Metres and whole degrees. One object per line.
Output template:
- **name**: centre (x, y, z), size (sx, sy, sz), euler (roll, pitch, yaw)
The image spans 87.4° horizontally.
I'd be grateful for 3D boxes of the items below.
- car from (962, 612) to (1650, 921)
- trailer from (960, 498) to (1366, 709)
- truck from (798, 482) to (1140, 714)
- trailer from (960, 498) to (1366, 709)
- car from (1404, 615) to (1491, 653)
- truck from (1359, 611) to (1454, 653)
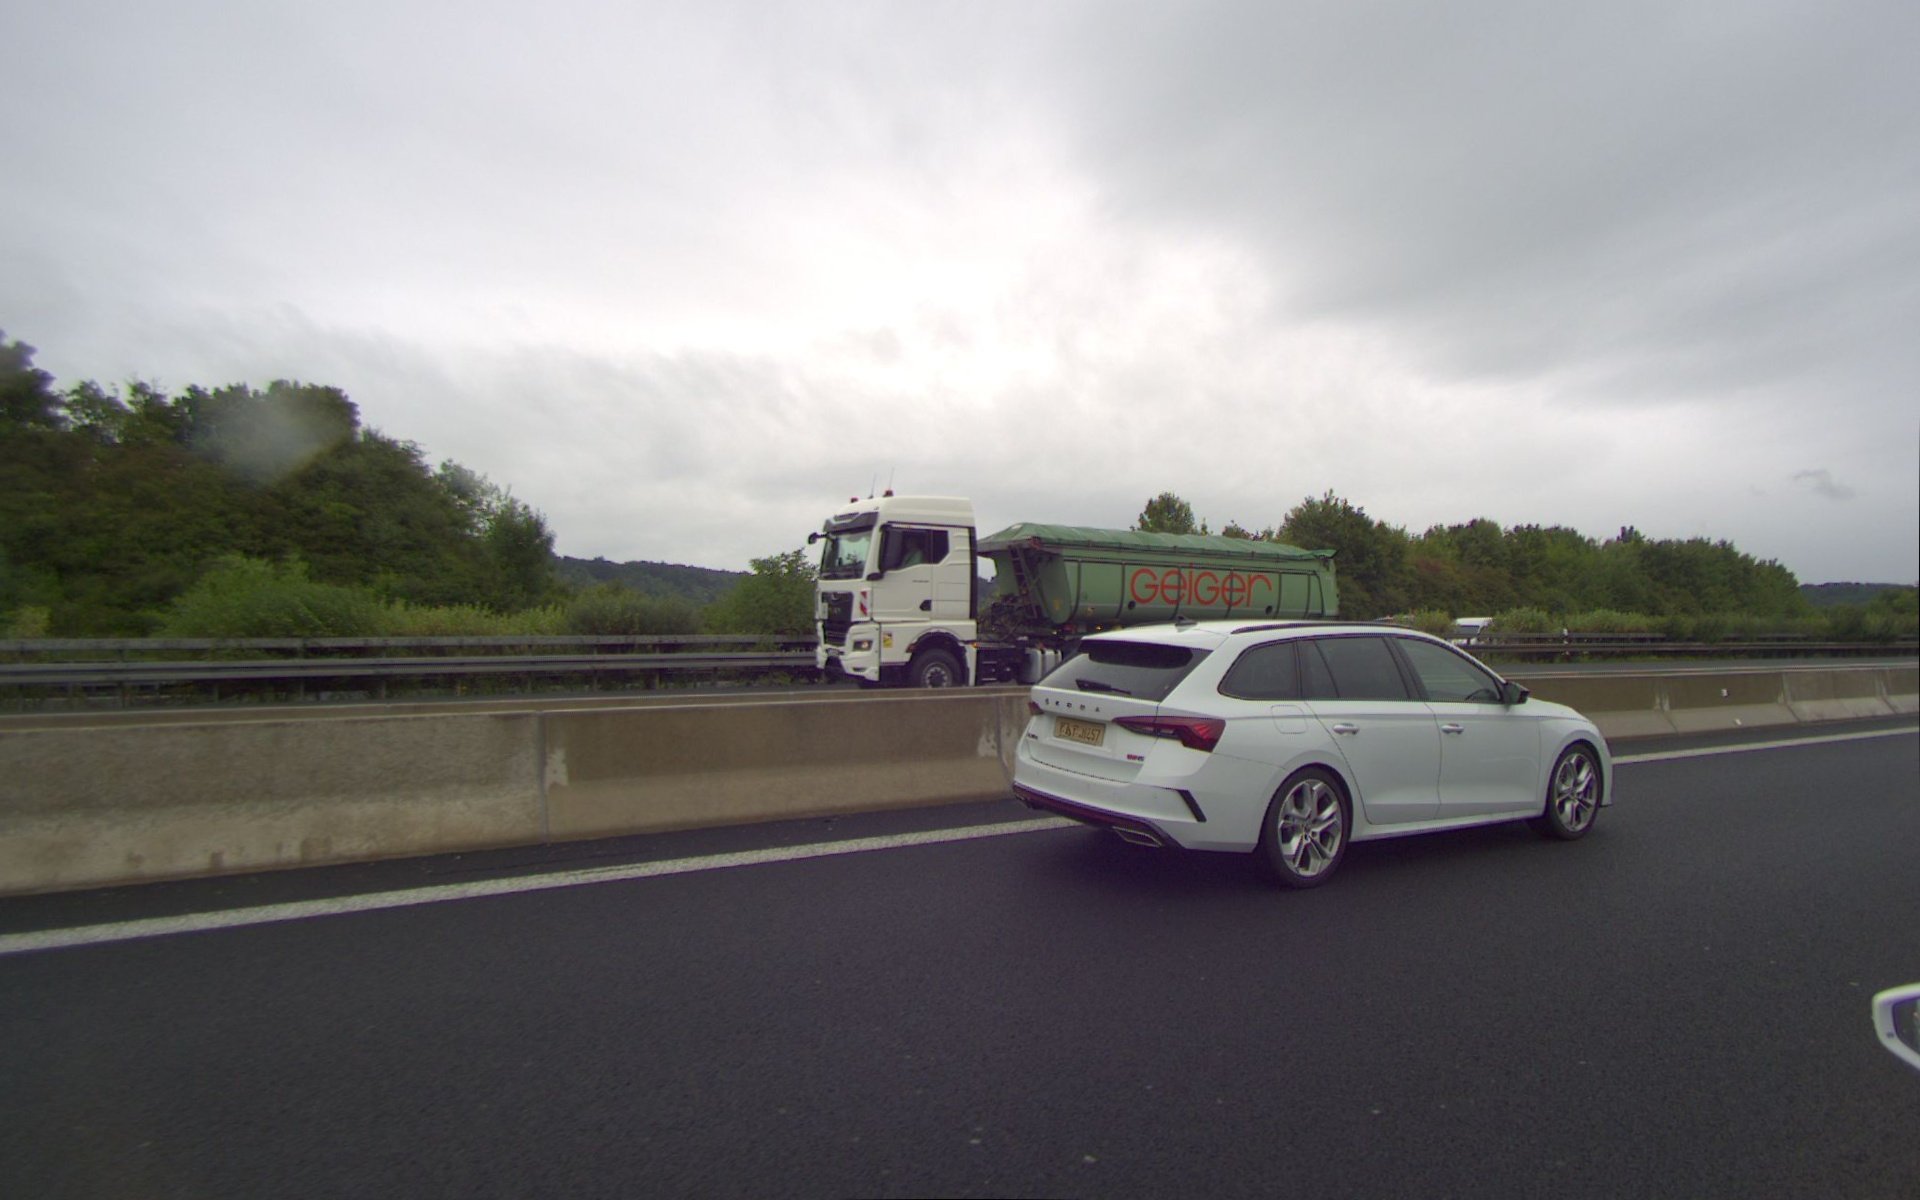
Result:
- **car**: centre (2.499, 0.870, 6.807), size (4.723, 1.475, 1.809), euler (2, -1, -31)
- **trailer**: centre (4.545, 0.196, 21.578), size (8.819, 3.798, 2.890), euler (2, -1, -29)
- **truck**: centre (0.205, 0.063, 19.132), size (5.872, 3.798, 2.874), euler (2, -1, -29)
- **trailer**: centre (4.545, 0.196, 21.578), size (8.819, 3.798, 2.890), euler (2, -1, -29)
- **car**: centre (24.675, 1.717, 50.783), size (4.357, 1.810, 1.793), euler (1, -2, -29)
- **truck**: centre (25.508, 1.836, 57.317), size (6.095, 2.271, 2.013), euler (1, -2, -34)
